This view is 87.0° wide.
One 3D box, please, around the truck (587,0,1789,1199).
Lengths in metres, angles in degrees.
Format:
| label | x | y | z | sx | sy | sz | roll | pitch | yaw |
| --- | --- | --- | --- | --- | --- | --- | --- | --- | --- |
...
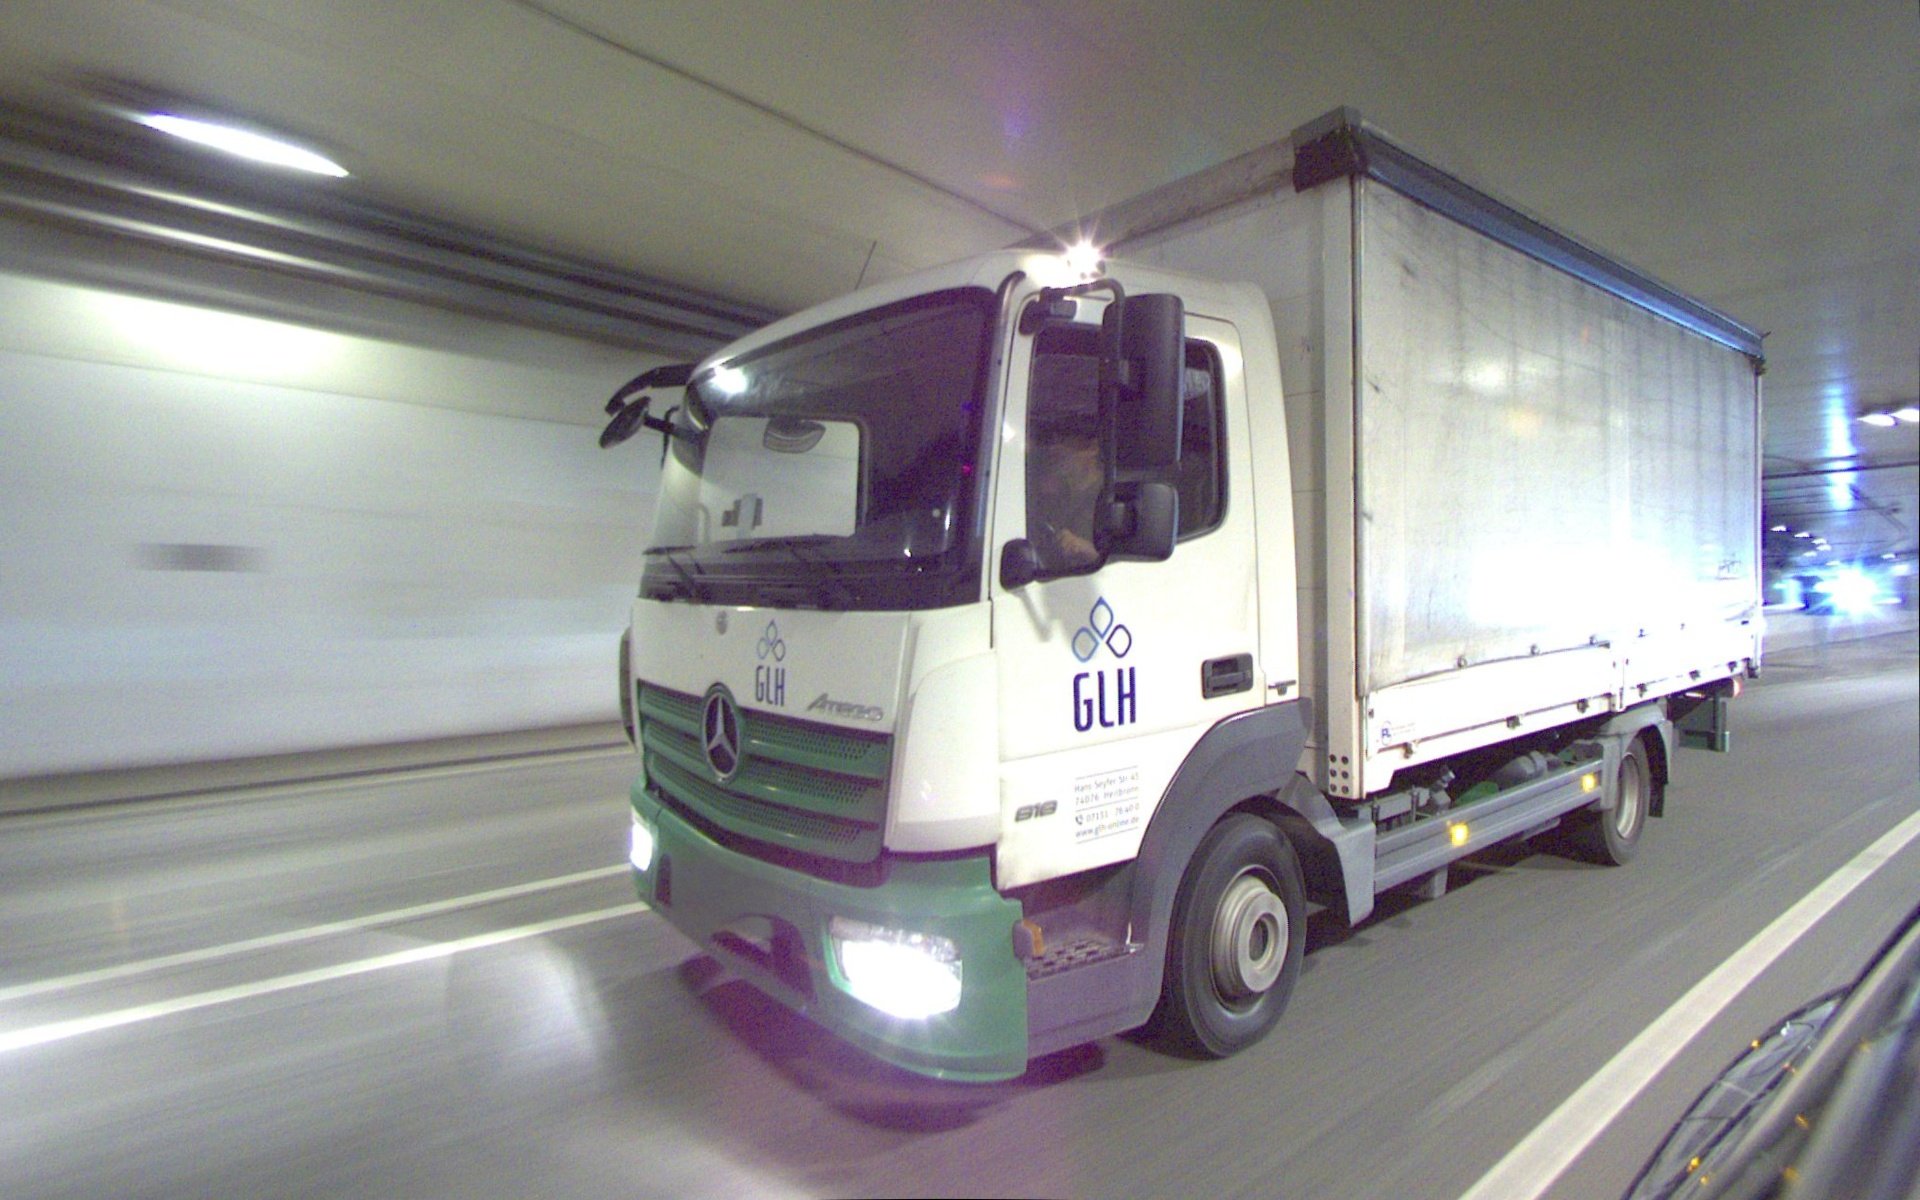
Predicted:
| label | x | y | z | sx | sy | sz | roll | pitch | yaw |
| --- | --- | --- | --- | --- | --- | --- | --- | --- | --- |
| truck | 2.004 | -0.267 | 5.483 | 7.117 | 3.221 | 2.559 | -1 | 1 | -40 |
